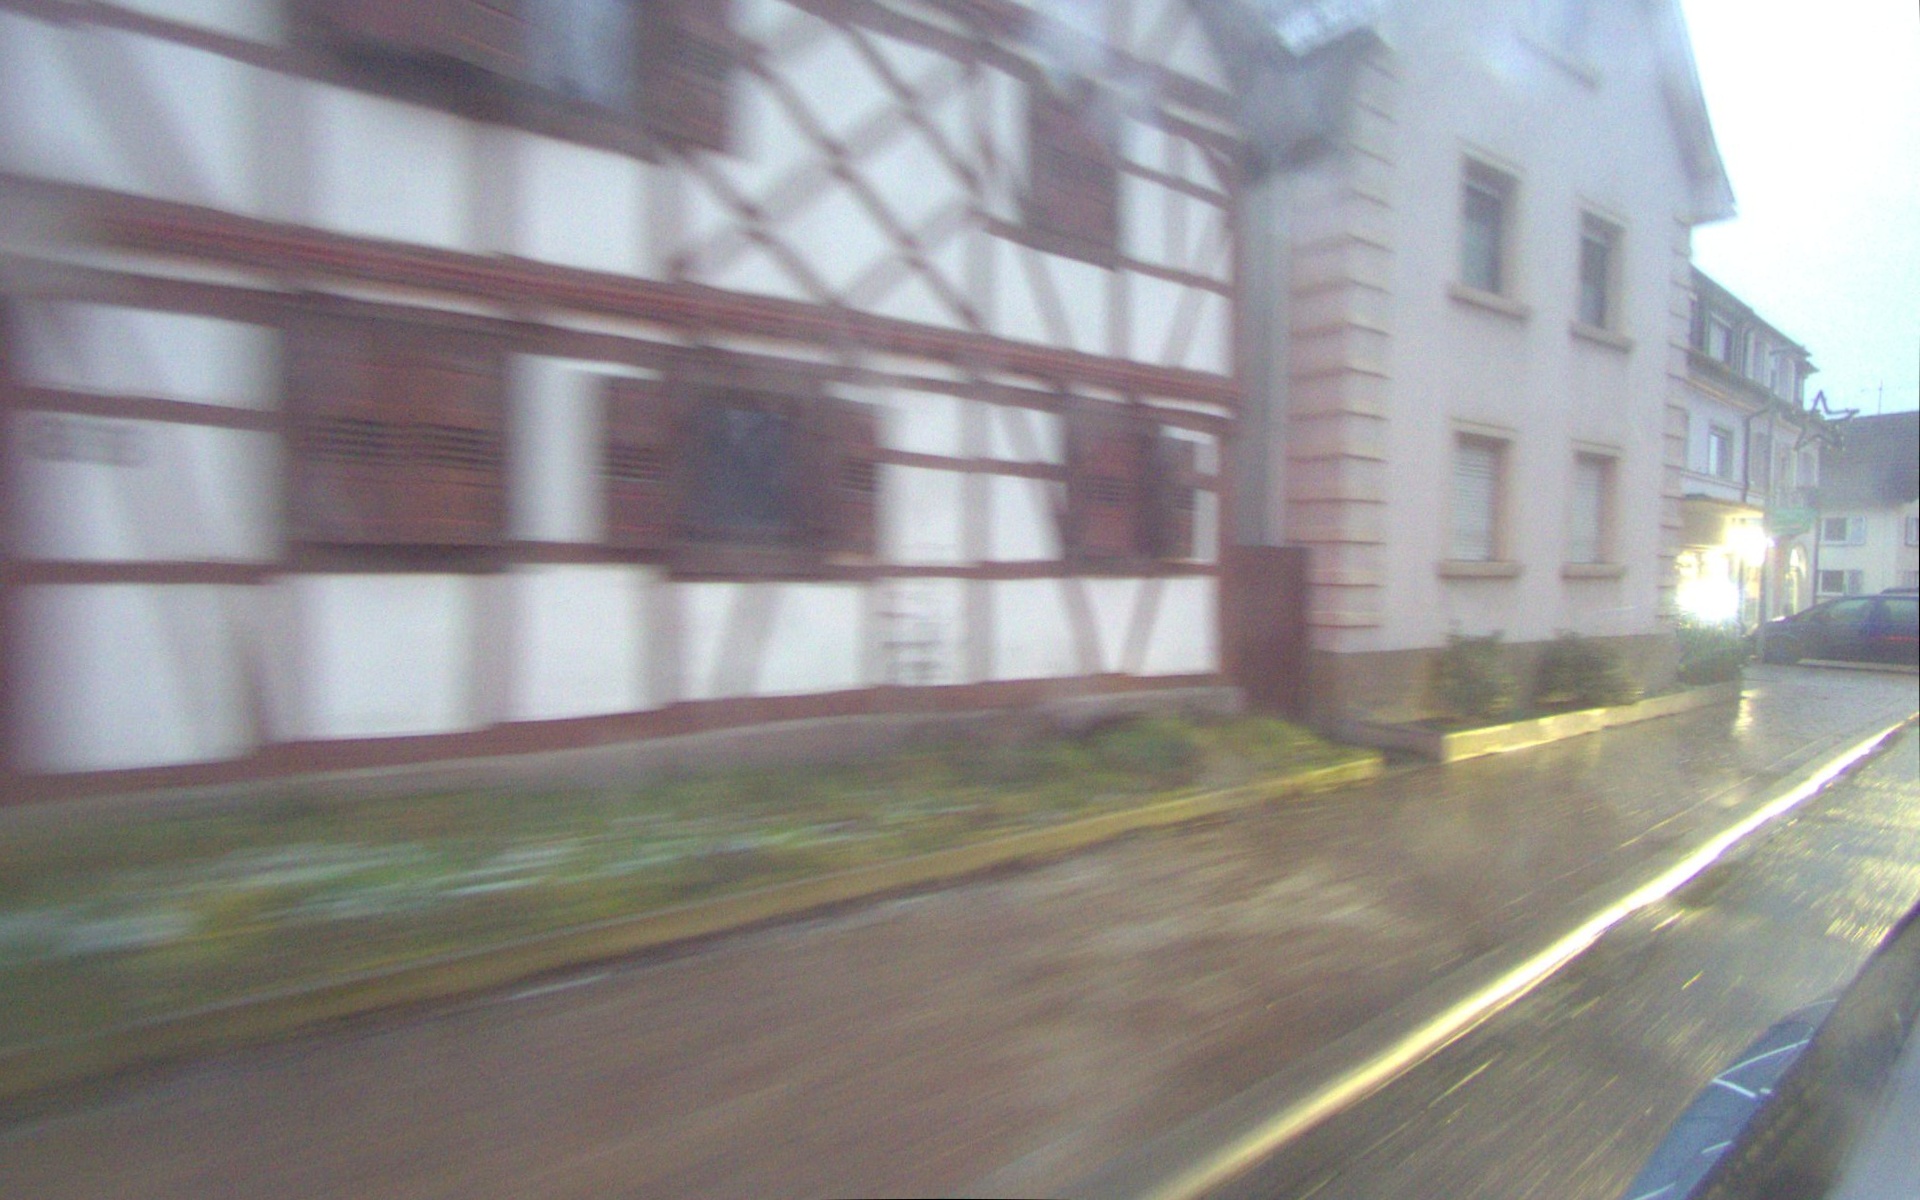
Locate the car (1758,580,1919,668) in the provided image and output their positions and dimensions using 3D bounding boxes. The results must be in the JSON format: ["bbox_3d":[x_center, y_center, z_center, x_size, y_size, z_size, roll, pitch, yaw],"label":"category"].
[{"bbox_3d":[19.323,0.489,21.208,1.585,1.647,3.847,0,3,-43],"label":"car"}]

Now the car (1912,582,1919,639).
[{"bbox_3d":[31.506,0.411,30.501,1.683,1.753,3.888,1,2,-39],"label":"car"}]

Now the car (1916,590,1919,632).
[{"bbox_3d":[32.863,0.449,31.802,1.523,1.383,3.888,1,2,-39],"label":"car"}]

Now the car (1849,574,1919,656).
[{"bbox_3d":[23.895,0.402,24.116,1.838,1.900,3.882,0,2,-44],"label":"car"}]
